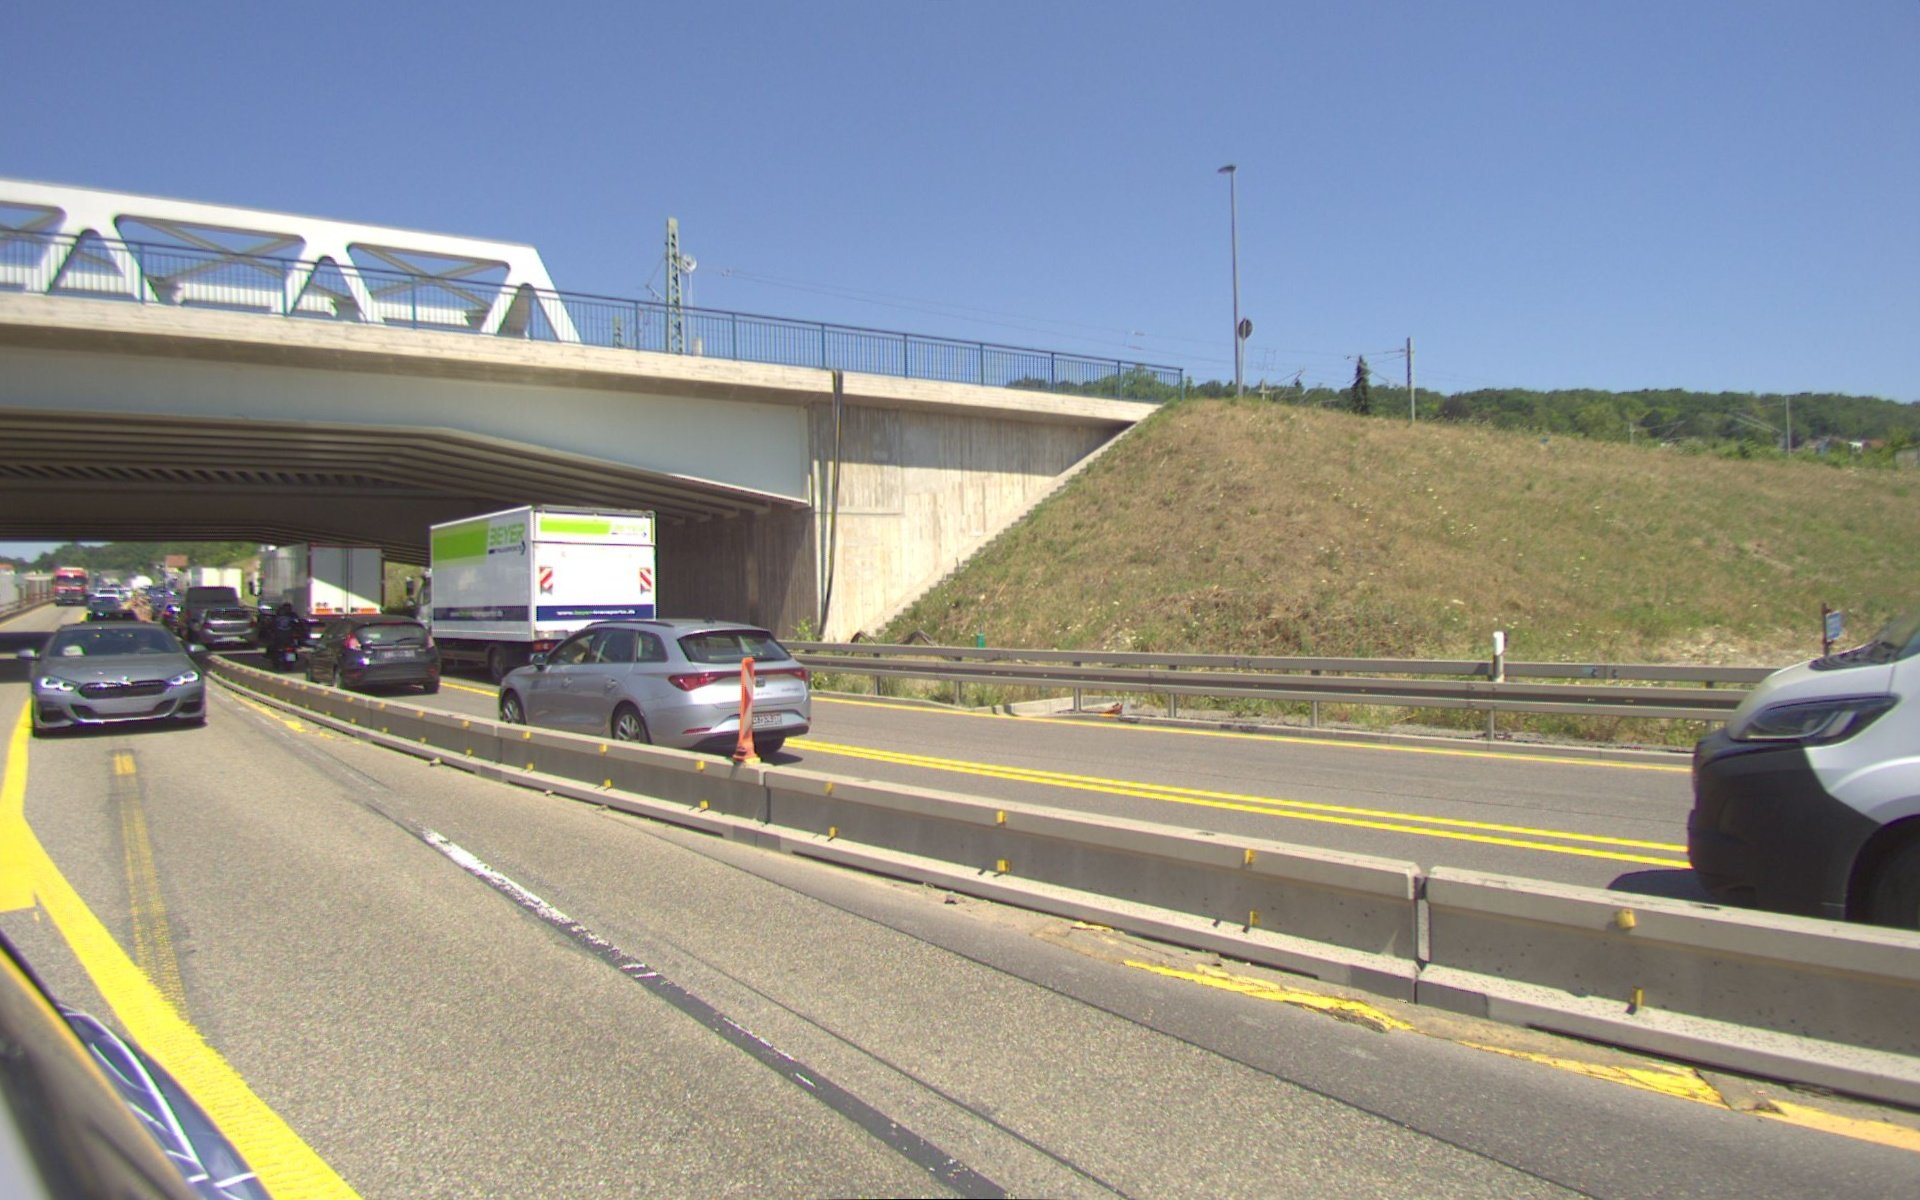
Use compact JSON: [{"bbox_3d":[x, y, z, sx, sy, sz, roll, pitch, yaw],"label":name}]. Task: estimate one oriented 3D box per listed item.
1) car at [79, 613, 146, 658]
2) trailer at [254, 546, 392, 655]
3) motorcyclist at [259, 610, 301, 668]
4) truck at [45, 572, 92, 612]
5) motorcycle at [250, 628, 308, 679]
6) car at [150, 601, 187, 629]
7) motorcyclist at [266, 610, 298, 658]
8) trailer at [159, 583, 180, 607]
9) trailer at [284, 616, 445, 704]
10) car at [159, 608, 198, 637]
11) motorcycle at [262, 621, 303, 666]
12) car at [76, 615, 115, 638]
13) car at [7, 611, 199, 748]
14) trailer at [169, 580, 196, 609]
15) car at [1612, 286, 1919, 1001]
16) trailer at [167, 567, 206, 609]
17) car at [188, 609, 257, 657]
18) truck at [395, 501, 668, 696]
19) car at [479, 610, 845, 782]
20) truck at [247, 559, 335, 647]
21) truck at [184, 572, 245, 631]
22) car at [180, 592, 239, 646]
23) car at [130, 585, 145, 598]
[{"bbox_3d":[-31.674,1.279,37.914,1.810,1.484,4.398,0,0,-39],"label":"car"},{"bbox_3d":[-28.019,0.062,44.026,2.841,4.070,14.378,-2,1,-41],"label":"trailer"},{"bbox_3d":[-17.274,0.969,25.708,0.801,1.427,0.744,0,1,-42],"label":"motorcyclist"},{"bbox_3d":[-95.506,-0.887,108.539,3.411,4.077,10.229,0,1,-40],"label":"truck"},{"bbox_3d":[-17.440,1.333,25.884,0.823,1.158,2.794,0,0,-43],"label":"motorcycle"},{"bbox_3d":[-58.168,1.064,74.339,1.778,1.947,4.974,0,0,-42],"label":"car"},{"bbox_3d":[-20.810,1.035,31.053,0.709,1.427,0.744,0,1,-42],"label":"motorcyclist"},{"bbox_3d":[-130.830,-0.873,167.481,2.566,3.899,11.296,0,1,-39],"label":"trailer"},{"bbox_3d":[-11.438,1.058,19.321,4.001,1.442,1.645,0,0,44],"label":"trailer"},{"bbox_3d":[-46.607,1.301,60.331,1.726,1.622,4.148,0,0,-39],"label":"car"},{"bbox_3d":[-20.796,1.304,31.041,0.694,1.289,2.739,0,-1,-41],"label":"motorcycle"},{"bbox_3d":[-60.764,1.843,71.125,4.001,1.564,1.776,-1,-1,44],"label":"car"},{"bbox_3d":[-11.911,0.968,14.278,1.810,1.609,4.398,0,-1,-38],"label":"car"},{"bbox_3d":[-111.033,-0.836,144.581,2.620,3.844,11.850,0,1,-35],"label":"trailer"},{"bbox_3d":[5.845,0.145,2.992,6.473,2.522,2.052,0,0,37],"label":"car"},{"bbox_3d":[-80.903,-1.275,105.748,2.778,4.205,8.257,0,1,-40],"label":"trailer"},{"bbox_3d":[-27.272,1.192,37.383,1.725,1.683,4.084,0,-1,-41],"label":"car"},{"bbox_3d":[-9.941,0.021,22.795,2.784,3.602,8.504,0,-1,-44],"label":"truck"},{"bbox_3d":[-3.415,0.898,11.032,4.524,1.475,1.824,-2,-1,44],"label":"car"},{"bbox_3d":[-32.827,0.116,49.567,2.839,4.081,4.891,-2,1,-42],"label":"truck"},{"bbox_3d":[-59.773,-0.033,80.920,2.735,4.345,13.509,0,1,-41],"label":"truck"},{"bbox_3d":[-35.222,0.840,47.418,1.955,2.348,6.069,0,0,-39],"label":"car"},{"bbox_3d":[-166.468,-1.741,204.878,2.179,2.649,6.638,0,0,-41],"label":"car"}]
